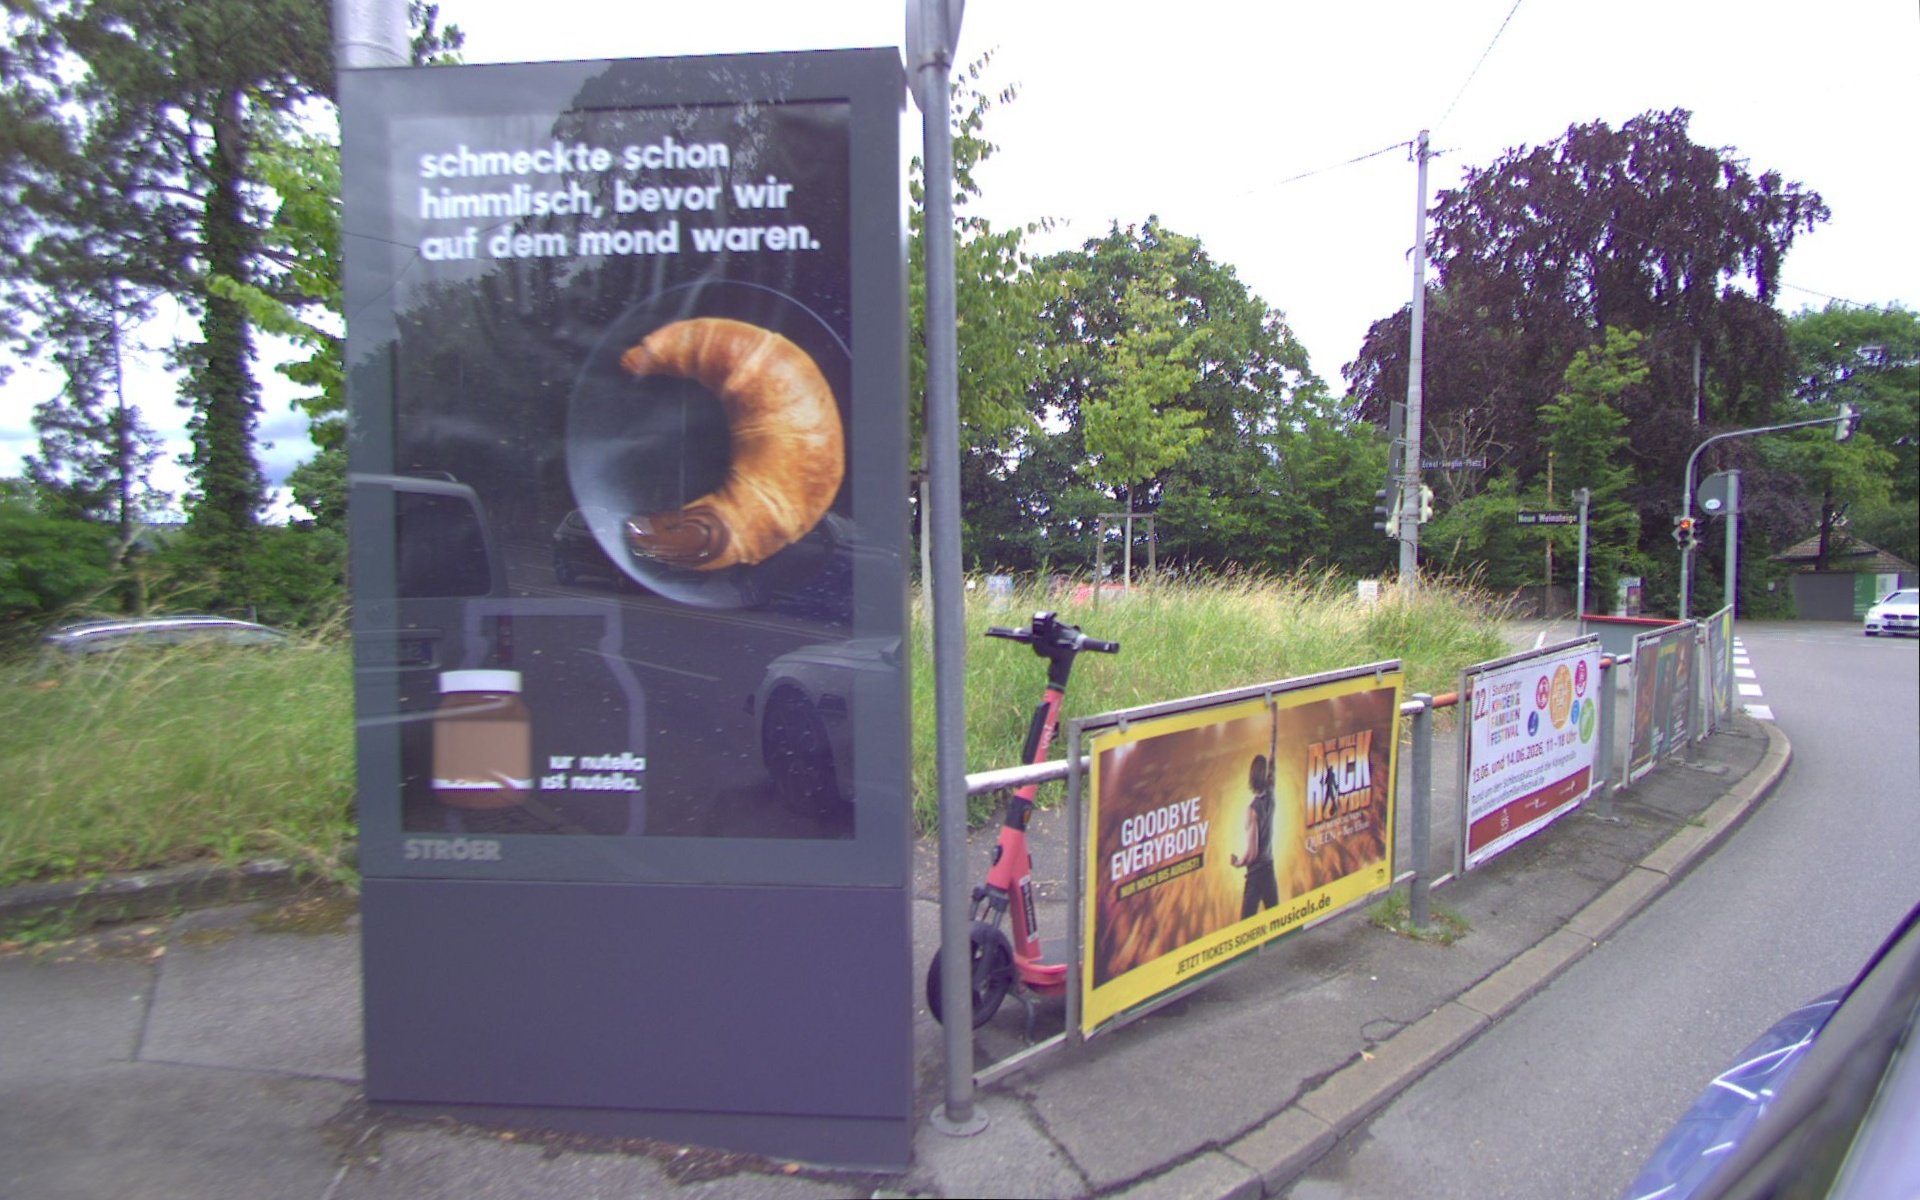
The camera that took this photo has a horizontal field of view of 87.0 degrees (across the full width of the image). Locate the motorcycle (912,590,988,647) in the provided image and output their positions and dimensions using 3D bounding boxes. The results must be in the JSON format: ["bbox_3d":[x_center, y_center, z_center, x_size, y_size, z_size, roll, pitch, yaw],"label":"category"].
[{"bbox_3d":[-0.235,0.414,23.310,1.714,1.248,0.727,1,2,-1],"label":"motorcycle"}]

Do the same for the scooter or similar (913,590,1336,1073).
[{"bbox_3d":[0.605,0.637,3.427,1.460,1.304,0.518,0,3,-39],"label":"scooter or similar"}]

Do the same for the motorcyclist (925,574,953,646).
[{"bbox_3d":[-0.487,0.220,23.353,0.636,1.624,0.727,1,2,-1],"label":"motorcyclist"}]

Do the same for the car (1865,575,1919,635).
[{"bbox_3d":[28.307,0.142,29.379,4.693,1.487,1.827,-2,8,-34],"label":"car"}]

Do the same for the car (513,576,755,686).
[{"bbox_3d":[-6.110,0.481,19.152,3.929,1.748,1.925,-3,3,-39],"label":"car"}]

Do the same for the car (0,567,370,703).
[{"bbox_3d":[-10.790,0.351,14.176,1.917,1.541,3.944,2,4,39],"label":"car"}]

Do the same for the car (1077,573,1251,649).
[{"bbox_3d":[4.551,0.223,22.962,3.631,1.522,1.652,-1,4,3],"label":"car"}]
